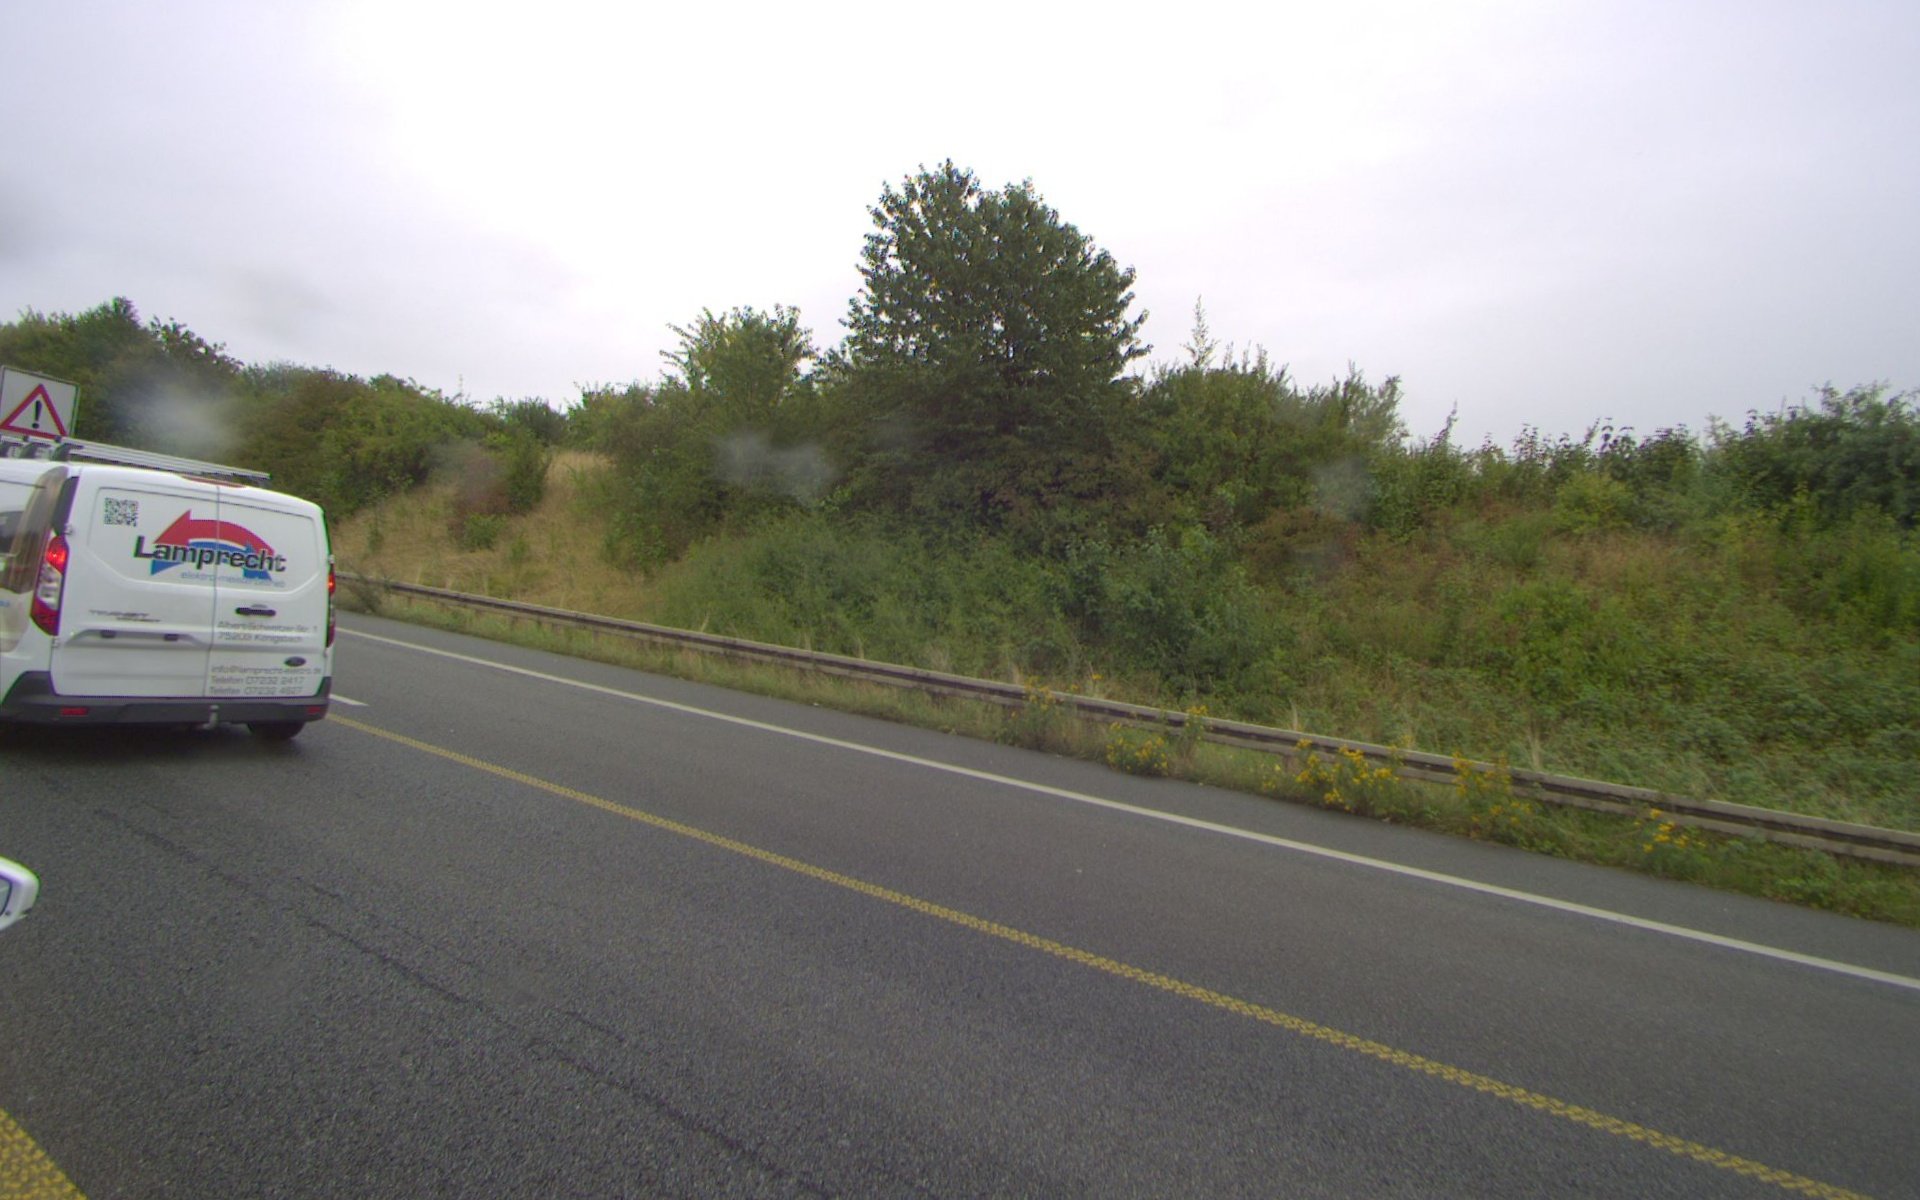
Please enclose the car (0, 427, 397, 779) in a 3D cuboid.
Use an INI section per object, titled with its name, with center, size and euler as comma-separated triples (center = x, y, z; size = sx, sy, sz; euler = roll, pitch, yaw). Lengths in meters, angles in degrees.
[car]
center = -6.361, -0.128, 7.297
size = 4.578, 1.861, 1.832
euler = 7, -1, 32
